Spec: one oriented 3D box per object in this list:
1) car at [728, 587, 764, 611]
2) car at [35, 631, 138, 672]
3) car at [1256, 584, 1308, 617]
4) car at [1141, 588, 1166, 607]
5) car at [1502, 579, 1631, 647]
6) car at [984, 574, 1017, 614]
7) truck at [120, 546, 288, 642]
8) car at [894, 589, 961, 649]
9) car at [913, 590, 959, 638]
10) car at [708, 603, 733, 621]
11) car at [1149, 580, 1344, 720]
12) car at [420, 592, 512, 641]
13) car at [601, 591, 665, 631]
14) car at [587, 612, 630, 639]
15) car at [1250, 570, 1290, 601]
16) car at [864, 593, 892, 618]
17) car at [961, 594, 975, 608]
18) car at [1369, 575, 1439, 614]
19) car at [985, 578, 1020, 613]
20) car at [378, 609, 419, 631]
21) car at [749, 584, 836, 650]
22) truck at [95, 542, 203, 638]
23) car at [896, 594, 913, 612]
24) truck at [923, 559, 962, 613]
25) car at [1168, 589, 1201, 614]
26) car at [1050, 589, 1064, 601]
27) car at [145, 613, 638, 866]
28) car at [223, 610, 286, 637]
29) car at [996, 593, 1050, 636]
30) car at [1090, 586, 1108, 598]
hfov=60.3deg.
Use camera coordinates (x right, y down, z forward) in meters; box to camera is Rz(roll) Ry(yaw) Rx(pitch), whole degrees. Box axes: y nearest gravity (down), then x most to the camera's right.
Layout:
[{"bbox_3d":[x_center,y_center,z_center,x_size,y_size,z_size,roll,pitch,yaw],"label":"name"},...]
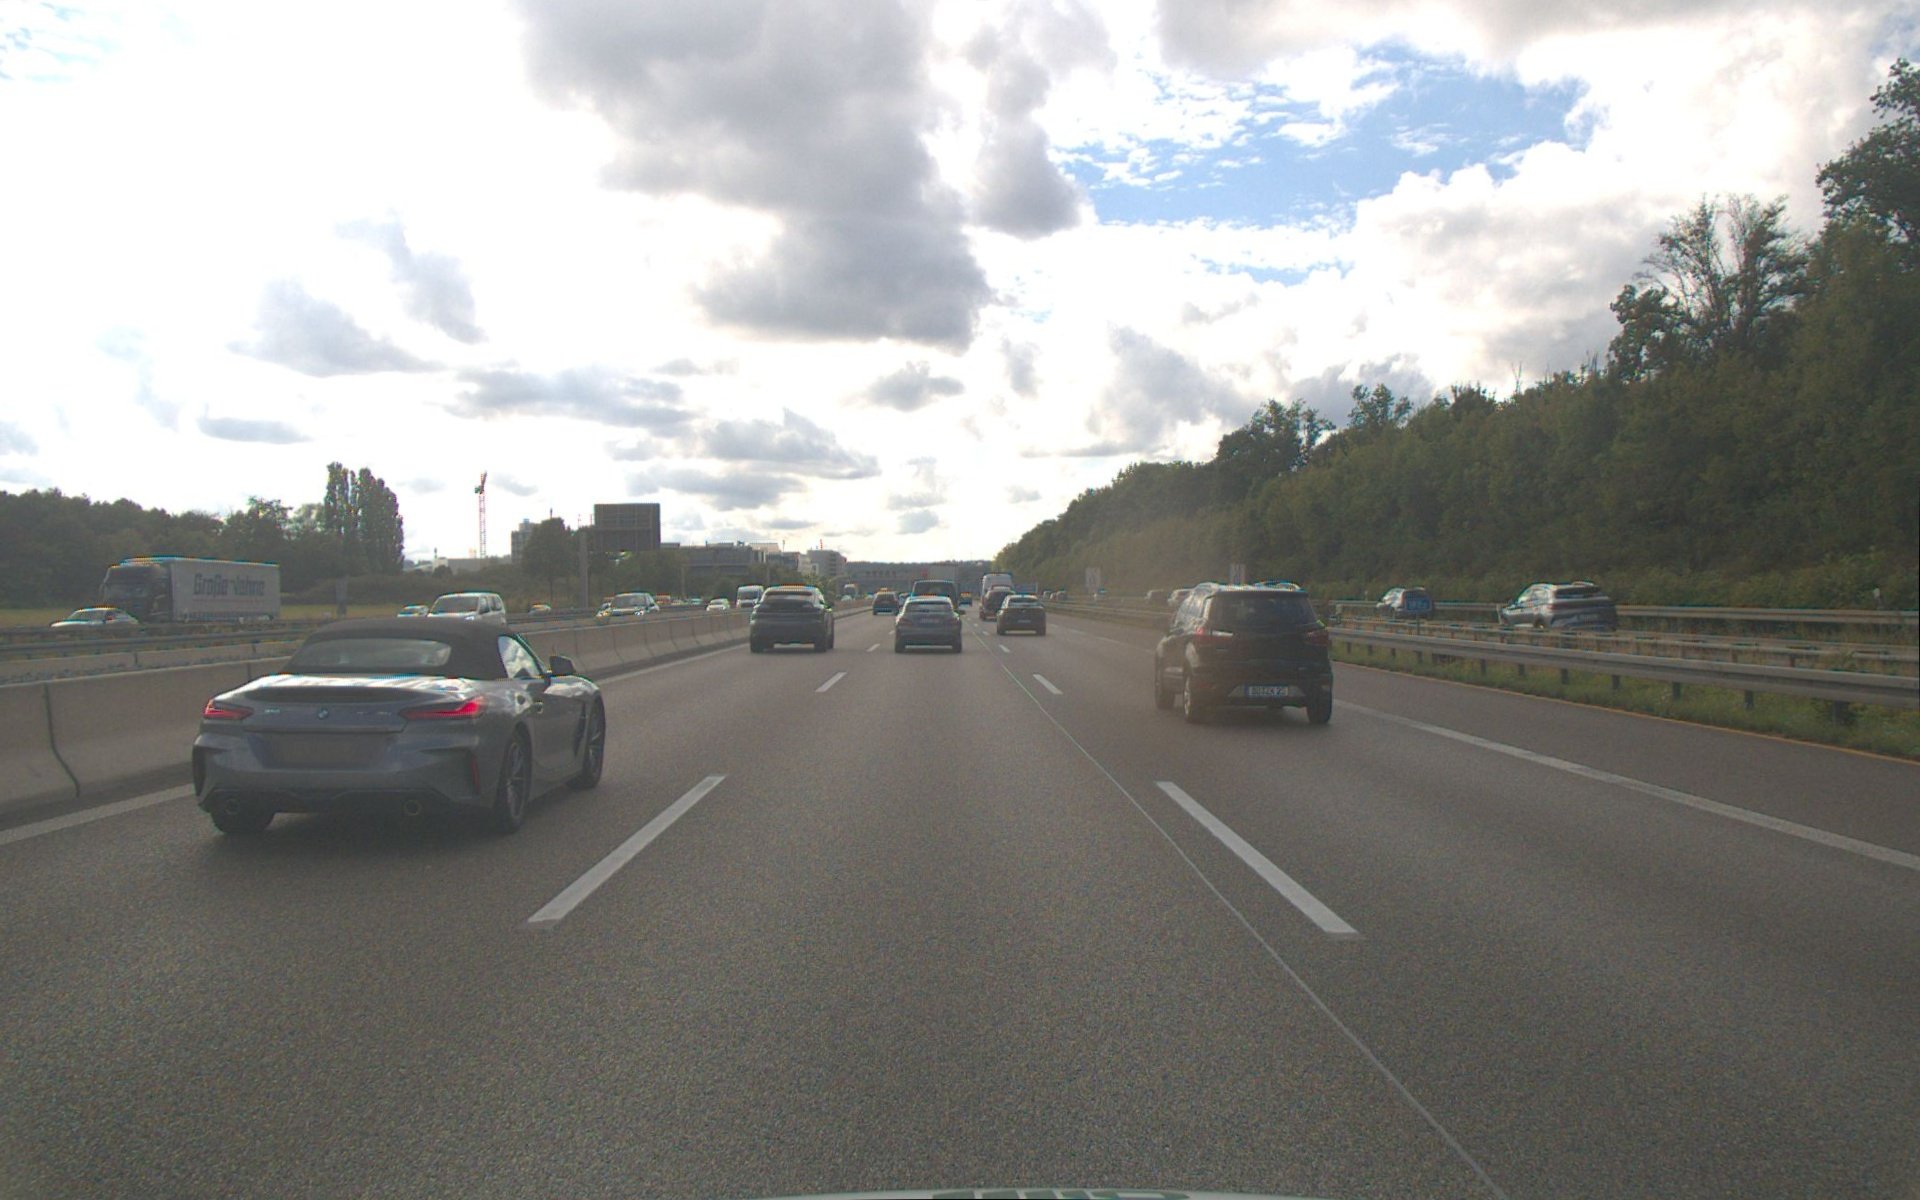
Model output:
[{"bbox_3d":[-18.315,-0.091,141.880,2.307,2.001,5.833,0,0,0],"label":"car"},{"bbox_3d":[-33.764,1.967,64.066,1.680,1.433,4.519,0,0,-2],"label":"car"},{"bbox_3d":[15.632,0.014,80.420,1.563,1.573,4.188,0,0,-2],"label":"car"},{"bbox_3d":[17.692,-0.236,151.541,1.716,1.725,4.189,0,0,-1],"label":"car"},{"bbox_3d":[16.295,0.308,44.677,1.809,1.679,4.305,-2,1,-1],"label":"car"},{"bbox_3d":[2.464,-0.348,101.441,1.835,2.399,4.281,0,0,-1],"label":"car"},{"bbox_3d":[-41.542,-0.308,91.655,3.011,4.886,14.125,0,0,-1],"label":"truck"},{"bbox_3d":[-0.864,0.475,43.910,1.686,1.505,4.390,0,0,-1],"label":"car"},{"bbox_3d":[-0.927,0.484,62.853,1.686,1.754,4.390,0,0,-1],"label":"car"},{"bbox_3d":[-21.969,1.112,151.700,1.691,1.556,4.863,0,0,-2],"label":"car"},{"bbox_3d":[3.515,0.559,20.969,1.663,1.592,4.113,0,0,-2],"label":"car"},{"bbox_3d":[-16.605,0.515,55.809,1.728,1.559,4.941,0,0,-2],"label":"car"},{"bbox_3d":[-13.411,0.427,68.152,1.727,1.559,4.941,0,0,-1],"label":"car"},{"bbox_3d":[-21.525,1.541,101.407,1.727,1.559,4.716,0,0,-1],"label":"car"},{"bbox_3d":[18.916,-0.871,100.969,1.563,1.835,3.823,0,0,-2],"label":"car"},{"bbox_3d":[-5.768,0.347,116.937,1.835,1.727,4.071,0,0,-1],"label":"car"},{"bbox_3d":[0.985,0.113,212.788,1.716,1.725,4.189,0,0,-1],"label":"car"},{"bbox_3d":[19.184,-0.265,71.674,1.694,1.573,4.304,-2,1,-2],"label":"car"},{"bbox_3d":[2.409,-0.265,94.513,1.874,1.952,4.029,0,0,-1],"label":"car"},{"bbox_3d":[-41.863,1.507,123.383,1.694,1.560,4.451,0,0,-1],"label":"car"},{"bbox_3d":[-4.415,0.411,44.296,1.873,1.664,5.499,0,0,-1],"label":"car"},{"bbox_3d":[-41.468,-0.496,84.755,2.983,4.740,5.072,0,0,0],"label":"truck"},{"bbox_3d":[-5.449,0.286,162.399,1.663,1.639,4.113,0,0,-2],"label":"car"},{"bbox_3d":[-1.548,-1.167,142.411,3.196,4.451,11.024,1,0,-1],"label":"truck"},{"bbox_3d":[15.604,0.085,115.171,1.716,1.725,4.189,0,0,-1],"label":"car"},{"bbox_3d":[13.694,-0.723,233.818,1.694,1.560,4.451,-1,0,-1],"label":"car"},{"bbox_3d":[-3.635,0.791,11.661,1.835,1.325,4.941,0,0,-1],"label":"car"},{"bbox_3d":[-37.604,1.241,88.247,1.576,1.336,4.112,0,0,-1],"label":"car"},{"bbox_3d":[2.340,0.531,61.973,1.795,1.547,4.224,0,0,-1],"label":"car"},{"bbox_3d":[17.396,-1.023,207.419,1.717,1.543,4.189,0,0,-2],"label":"car"}]
